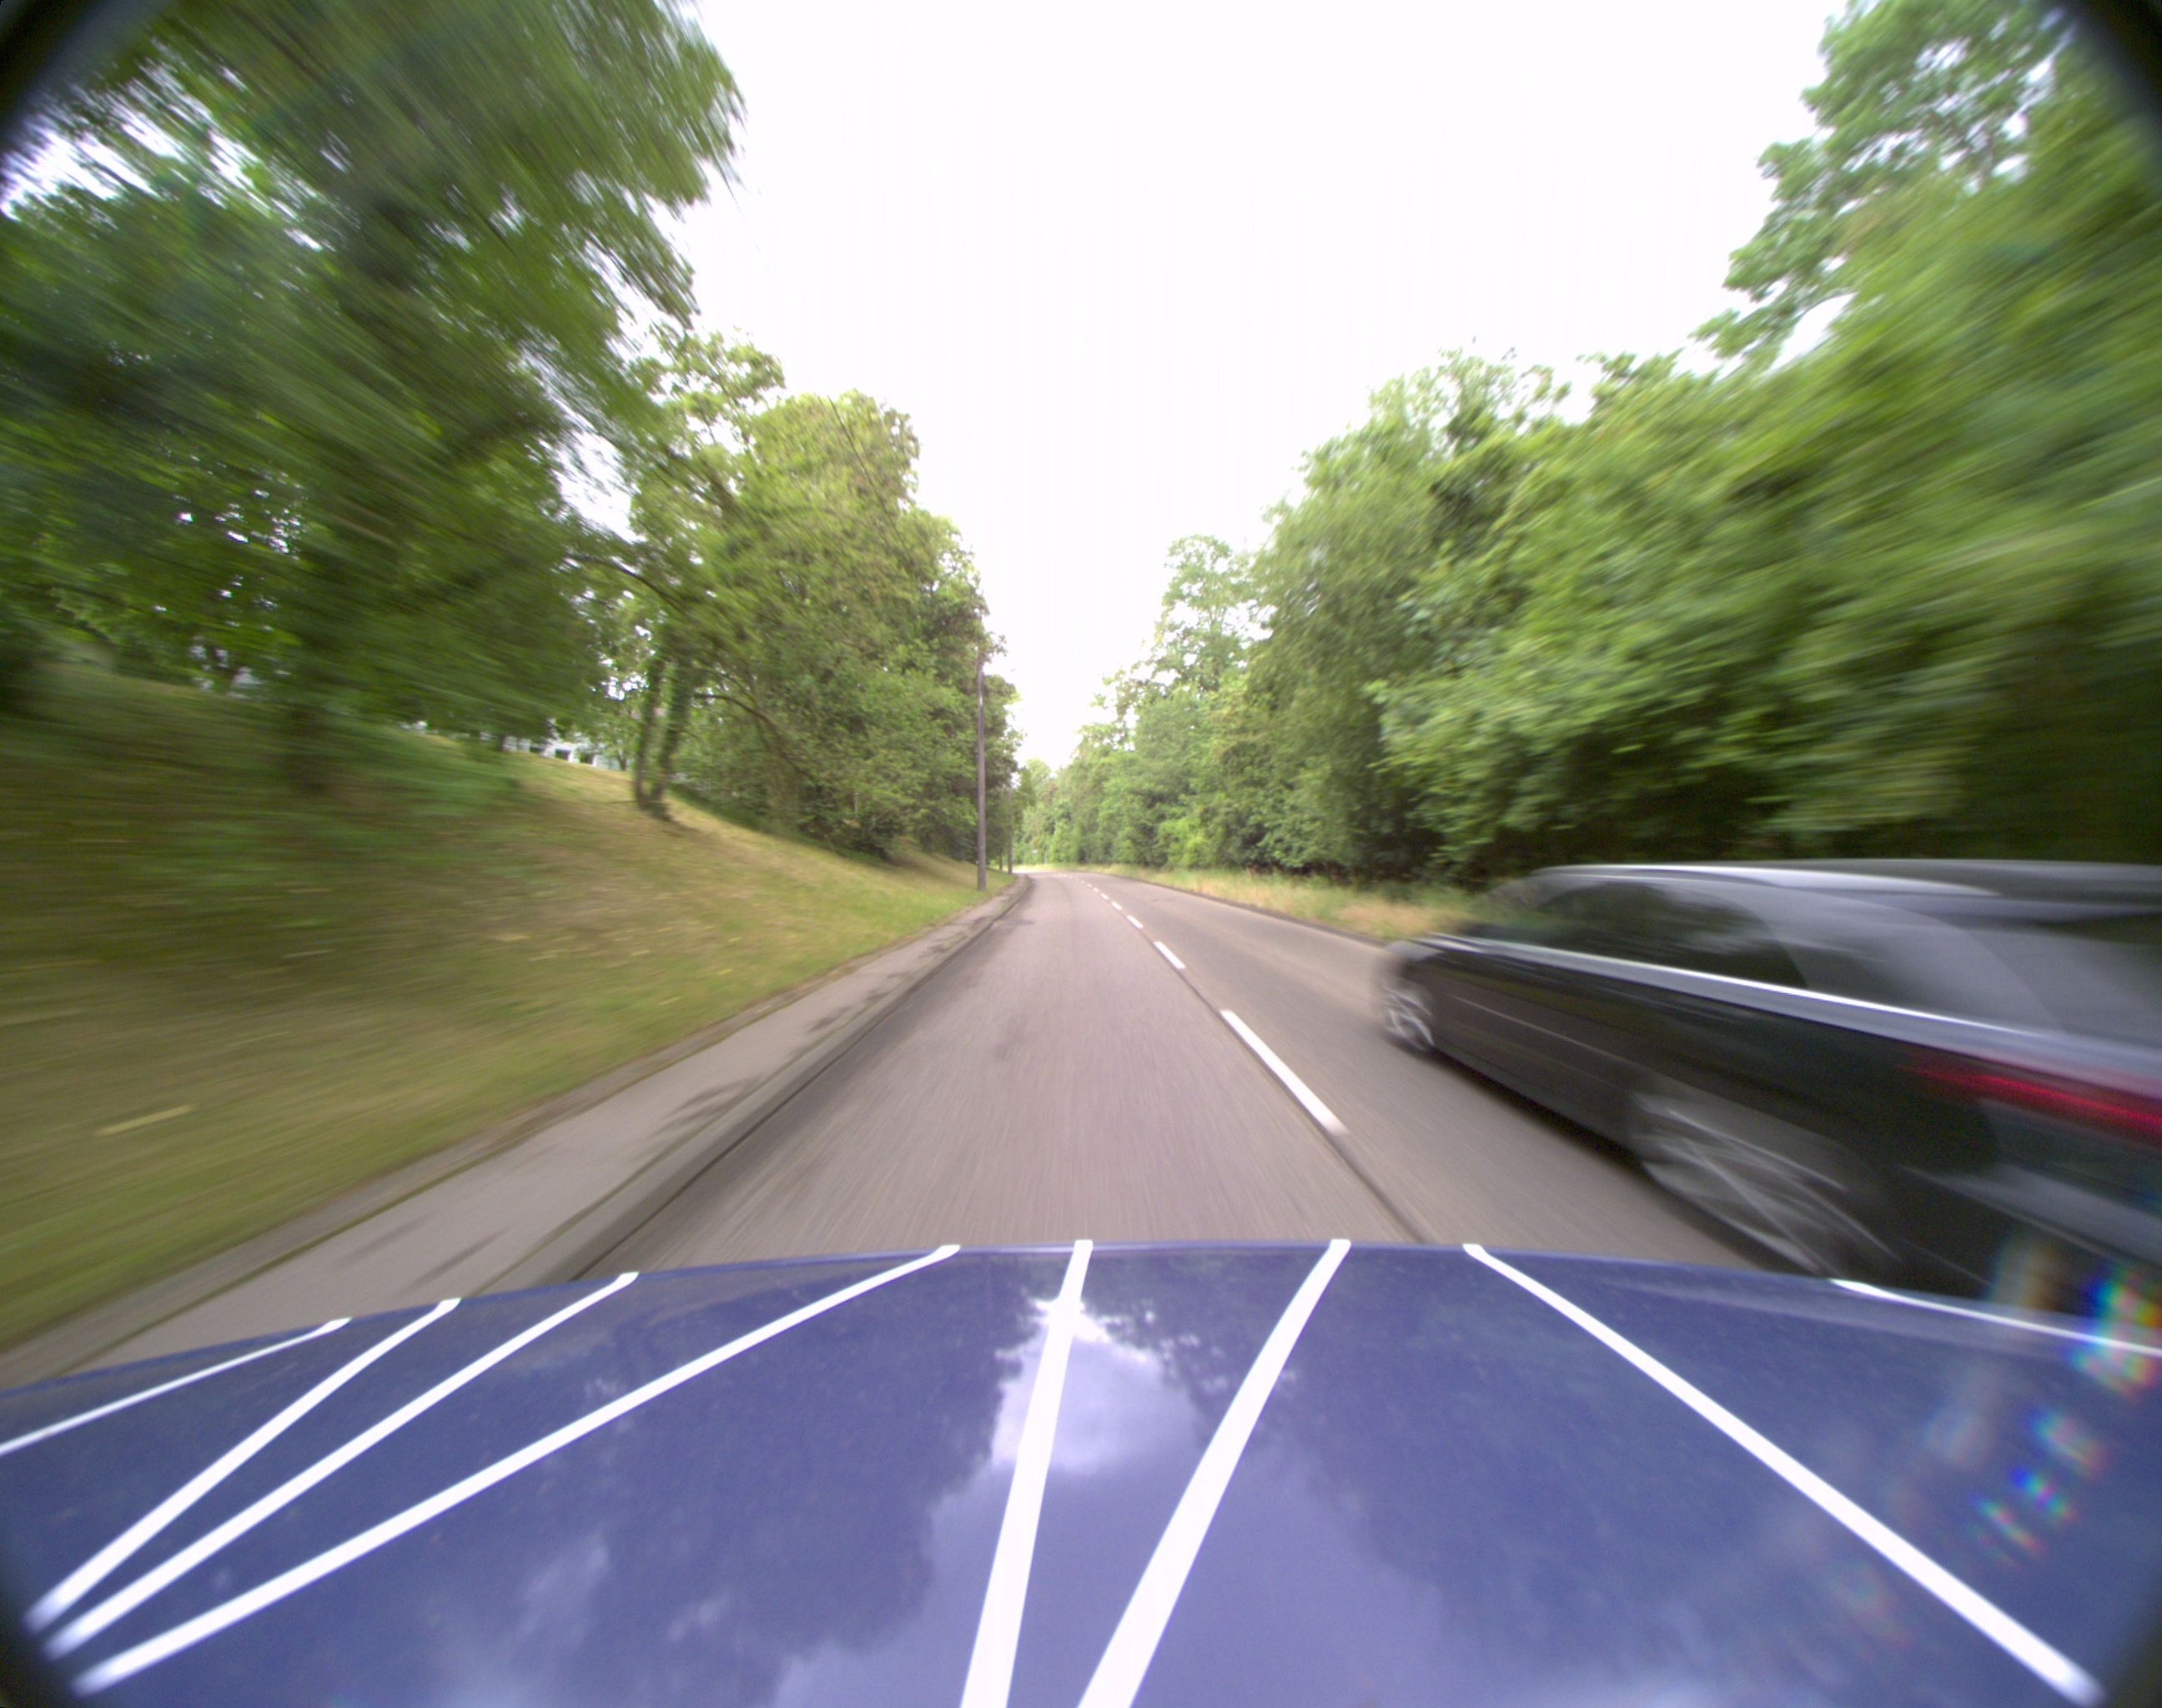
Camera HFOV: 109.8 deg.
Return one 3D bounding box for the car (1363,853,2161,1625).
[{"bbox_3d":[3.270,0.814,3.707,2.035,1.499,4.594,-2,1,0],"label":"car"}]
